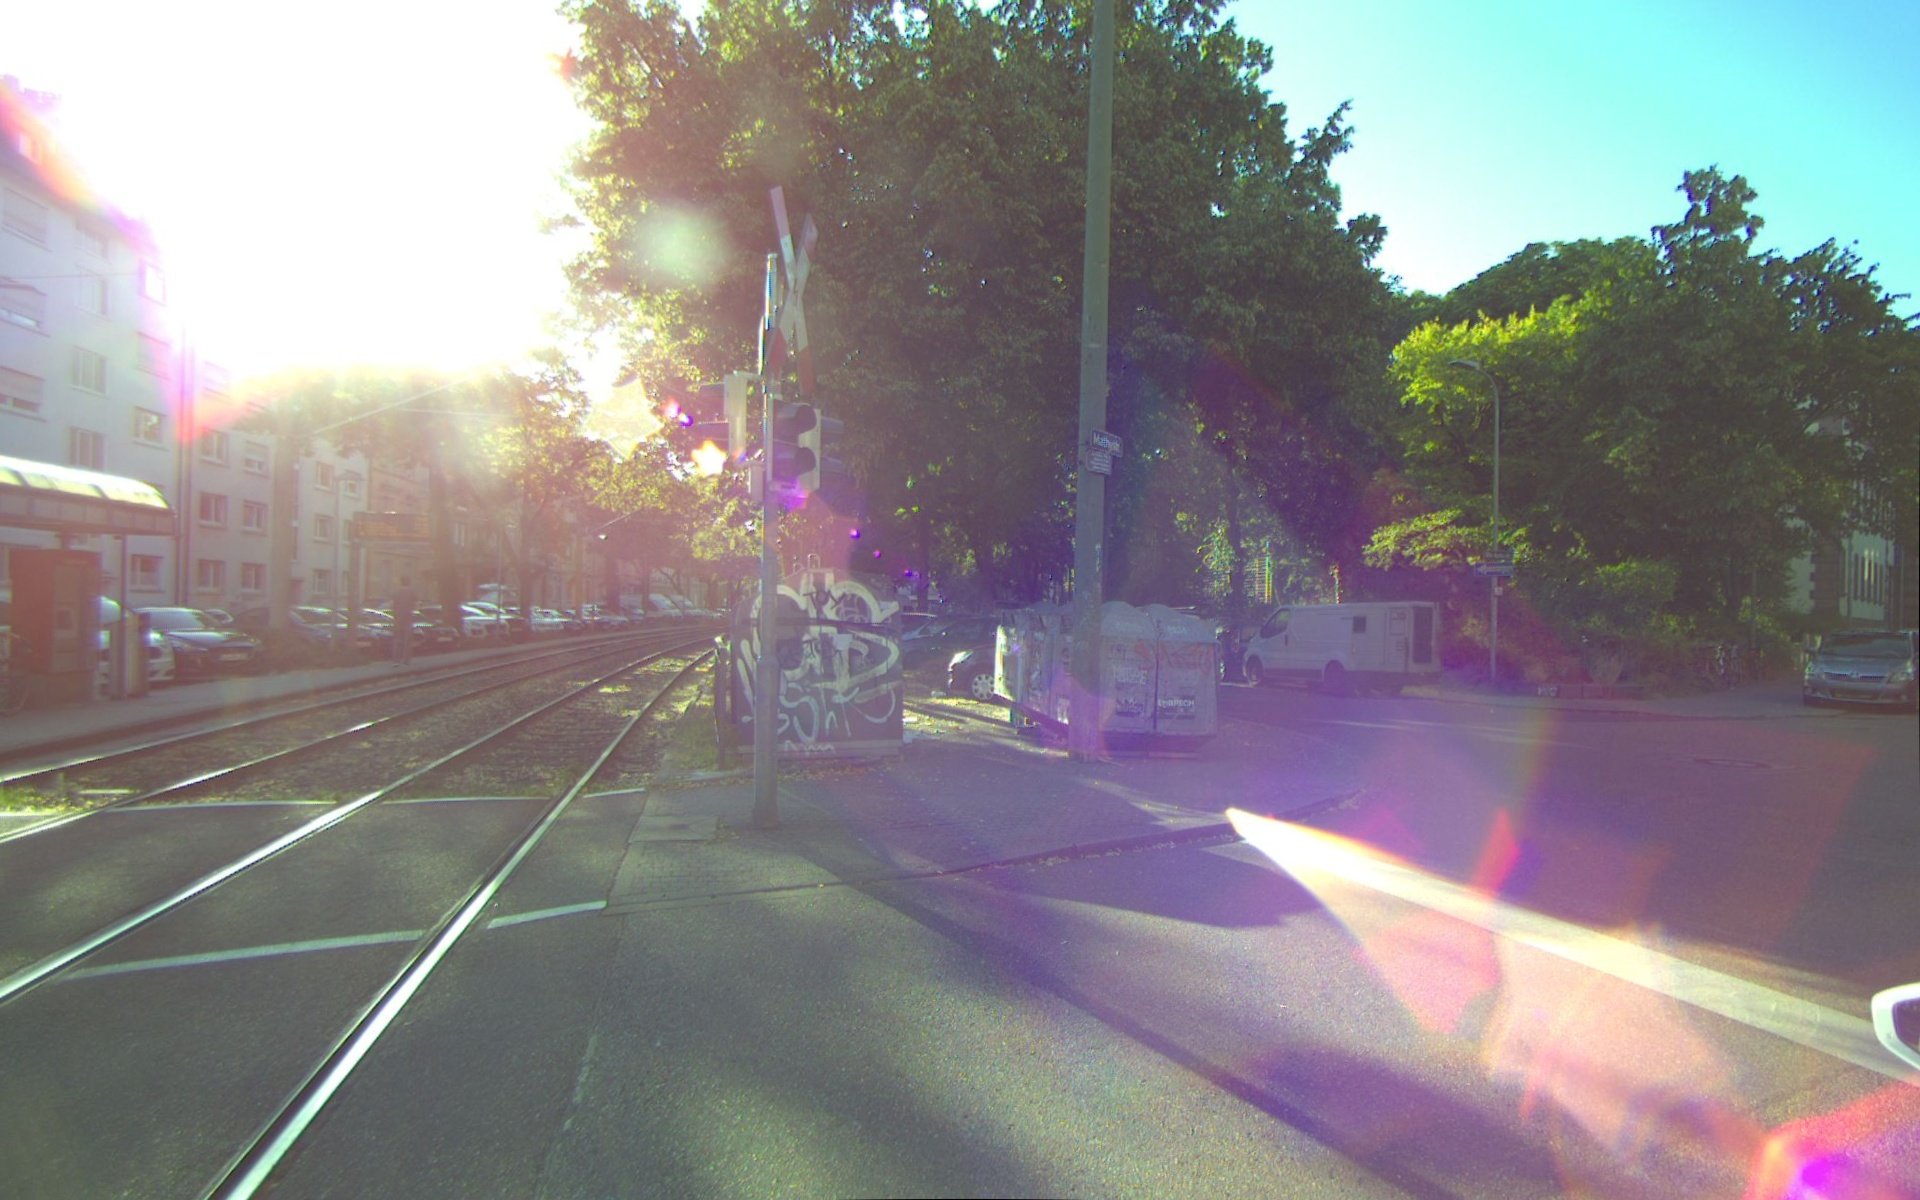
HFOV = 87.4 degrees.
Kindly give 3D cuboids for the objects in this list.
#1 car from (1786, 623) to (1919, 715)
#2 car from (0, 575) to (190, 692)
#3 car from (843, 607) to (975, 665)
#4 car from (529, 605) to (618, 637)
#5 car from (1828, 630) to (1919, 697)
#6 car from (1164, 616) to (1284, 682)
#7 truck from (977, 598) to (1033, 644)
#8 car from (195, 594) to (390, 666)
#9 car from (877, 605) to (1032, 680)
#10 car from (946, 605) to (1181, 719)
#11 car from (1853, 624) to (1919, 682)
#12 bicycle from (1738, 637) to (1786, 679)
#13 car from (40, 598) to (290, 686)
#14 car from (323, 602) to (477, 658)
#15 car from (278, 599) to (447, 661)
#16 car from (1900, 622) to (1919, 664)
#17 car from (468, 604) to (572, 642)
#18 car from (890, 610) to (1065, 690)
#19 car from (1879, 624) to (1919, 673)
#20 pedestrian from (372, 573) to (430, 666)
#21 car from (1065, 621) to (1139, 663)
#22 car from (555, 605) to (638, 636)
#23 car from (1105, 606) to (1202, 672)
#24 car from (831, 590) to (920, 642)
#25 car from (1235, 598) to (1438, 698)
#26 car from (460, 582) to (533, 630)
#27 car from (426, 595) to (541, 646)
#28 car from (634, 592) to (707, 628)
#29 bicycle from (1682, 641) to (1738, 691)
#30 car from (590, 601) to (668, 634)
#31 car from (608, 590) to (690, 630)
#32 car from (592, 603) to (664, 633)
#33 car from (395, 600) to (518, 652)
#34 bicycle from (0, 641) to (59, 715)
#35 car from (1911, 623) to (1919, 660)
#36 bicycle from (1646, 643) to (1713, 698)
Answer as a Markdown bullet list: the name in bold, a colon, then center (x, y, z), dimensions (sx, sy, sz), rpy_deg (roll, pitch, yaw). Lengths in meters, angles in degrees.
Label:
- **car**: center (19.317, 1.392, 21.504), dimensions (4.259, 1.636, 1.809), rpy_deg (2, 2, -42)
- **car**: center (-14.561, 0.562, 16.131), dimensions (4.161, 1.674, 1.606), rpy_deg (-3, 0, 23)
- **car**: center (-1.577, 1.144, 31.660), dimensions (3.752, 1.516, 1.739), rpy_deg (4, -2, 12)
- **car**: center (-20.584, 1.119, 53.493), dimensions (4.159, 1.492, 1.857), rpy_deg (-3, 0, 20)
- **car**: center (24.072, 1.593, 26.057), dimensions (3.902, 1.466, 1.809), rpy_deg (2, 2, -42)
- **car**: center (7.089, 1.278, 27.358), dimensions (1.550, 1.659, 3.701), rpy_deg (1, -1, -14)
- **truck**: center (2.407, 1.125, 54.802), dimensions (2.330, 2.383, 4.378), rpy_deg (1, -1, -7)
- **car**: center (-16.264, 0.729, 24.501), dimensions (4.157, 1.528, 1.608), rpy_deg (-3, 0, 17)
- **car**: center (-0.114, 1.040, 25.388), dimensions (3.546, 1.583, 1.608), rpy_deg (4, 0, 16)
- **car**: center (1.780, 0.986, 16.933), dimensions (3.661, 1.540, 1.608), rpy_deg (4, 0, 15)
- **car**: center (28.091, 1.552, 29.861), dimensions (3.902, 1.498, 1.809), rpy_deg (2, 2, -42)
- **bicycle**: center (22.700, 1.609, 28.402), dimensions (2.606, 1.116, 0.591), rpy_deg (2, -1, -41)
- **car**: center (-15.320, 0.797, 19.383), dimensions (4.123, 1.456, 1.701), rpy_deg (-3, 0, 17)
- **car**: center (-17.011, 0.920, 30.542), dimensions (4.157, 1.478, 1.608), rpy_deg (-3, 0, 17)
- **car**: center (-16.652, 0.829, 28.008), dimensions (4.157, 1.478, 1.608), rpy_deg (-3, 0, 17)
- **car**: center (37.541, 1.697, 38.509), dimensions (3.902, 1.520, 1.809), rpy_deg (2, 2, -42)
- **car**: center (-19.837, 1.043, 45.296), dimensions (4.159, 1.492, 1.857), rpy_deg (-3, 0, 20)
- **car**: center (0.419, 1.081, 22.431), dimensions (3.546, 1.466, 1.608), rpy_deg (4, 0, 15)
- **car**: center (32.726, 1.645, 34.111), dimensions (3.902, 1.520, 1.809), rpy_deg (2, 2, -42)
- **pedestrian**: center (-11.892, 0.415, 21.406), dimensions (0.836, 1.936, 0.836), rpy_deg (1, 0, -11)
- **car**: center (5.139, 1.486, 36.741), dimensions (1.549, 1.404, 3.593), rpy_deg (1, -1, -12)
- **car**: center (-20.448, 1.138, 56.517), dimensions (4.159, 1.492, 1.857), rpy_deg (-3, 0, 20)
- **car**: center (6.047, 1.180, 31.813), dimensions (1.549, 1.929, 3.892), rpy_deg (1, -1, -13)
- **car**: center (-4.668, 0.887, 55.302), dimensions (4.413, 2.508, 1.819), rpy_deg (3, -2, 23)
- **car**: center (8.341, 1.006, 22.783), dimensions (1.918, 2.030, 4.644), rpy_deg (1, -1, -16)
- **car**: center (-29.481, 0.355, 64.054), dimensions (2.512, 2.926, 5.477), rpy_deg (0, 0, -5)
- **car**: center (-18.408, 0.792, 38.749), dimensions (4.165, 1.772, 1.855), rpy_deg (-3, 0, 28)
- **car**: center (-23.105, 0.810, 80.261), dimensions (5.166, 2.606, 2.273), rpy_deg (-3, 0, 20)
- **bicycle**: center (17.952, 1.556, 24.008), dimensions (2.608, 1.116, 0.591), rpy_deg (2, -1, -43)
- **car**: center (-19.953, 1.061, 60.589), dimensions (4.159, 1.721, 1.857), rpy_deg (-3, 0, 20)
- **car**: center (-22.191, 0.693, 71.623), dimensions (5.166, 2.606, 2.273), rpy_deg (-3, 0, 20)
- **car**: center (-21.616, 1.153, 65.442), dimensions (4.159, 1.721, 1.857), rpy_deg (-3, 0, 20)
- **car**: center (-18.143, 0.933, 36.164), dimensions (4.165, 1.673, 1.855), rpy_deg (-3, 0, 28)
- **bicycle**: center (-11.022, 0.895, 11.332), dimensions (0.442, 0.794, 1.640), rpy_deg (1, -1, -9)
- **car**: center (41.124, 1.781, 41.857), dimensions (3.902, 1.520, 1.809), rpy_deg (2, 2, -42)
- **bicycle**: center (15.931, 1.533, 22.220), dimensions (2.606, 1.116, 0.591), rpy_deg (2, -1, -40)
